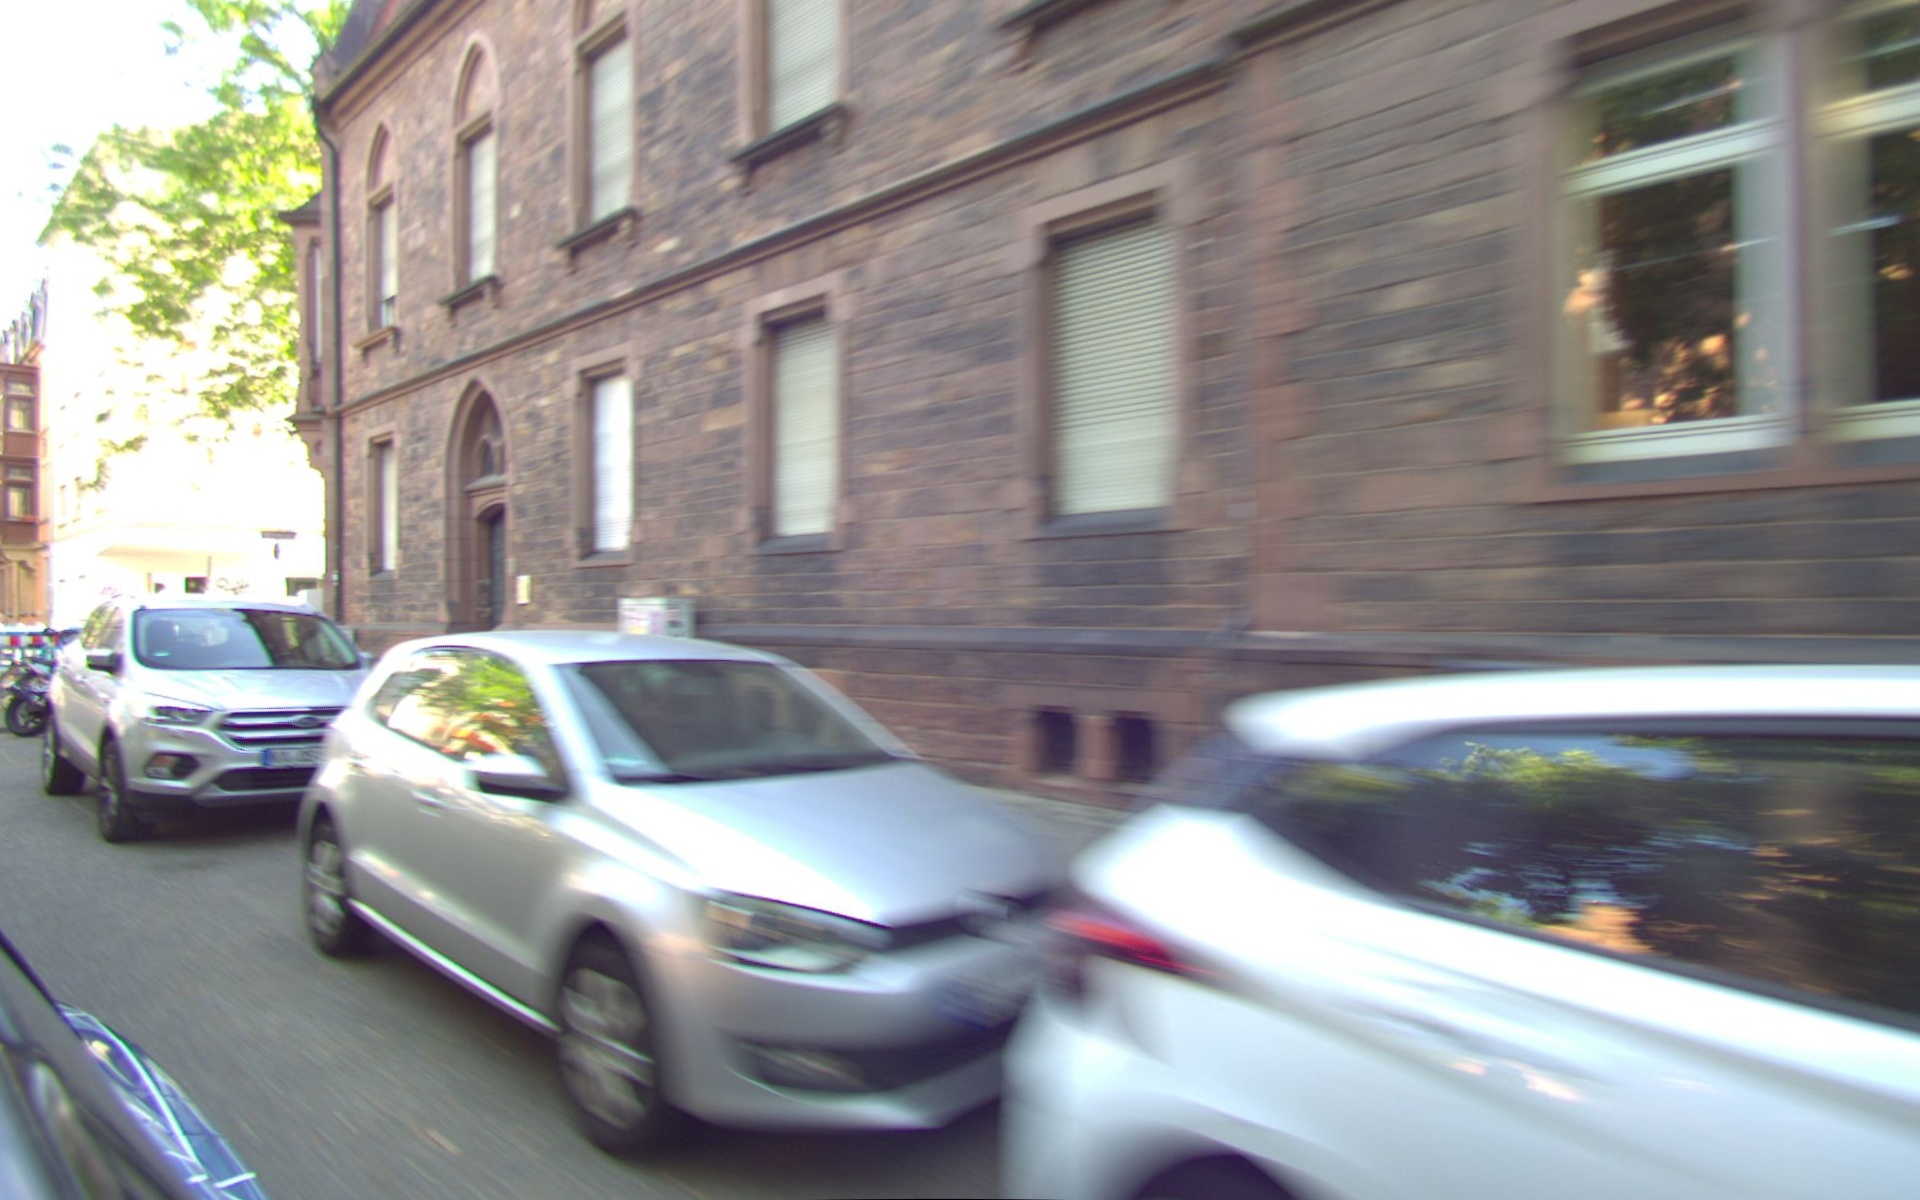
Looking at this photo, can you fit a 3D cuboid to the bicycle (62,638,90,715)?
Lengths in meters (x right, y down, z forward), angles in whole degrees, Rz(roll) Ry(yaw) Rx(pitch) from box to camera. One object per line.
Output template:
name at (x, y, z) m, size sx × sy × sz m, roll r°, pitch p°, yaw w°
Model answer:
bicycle at (-12.778, 1.091, 14.632) m, size 0.230 × 1.050 × 1.200 m, roll -1°, pitch -1°, yaw -38°

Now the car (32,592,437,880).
car at (-5.912, 0.844, 8.032) m, size 4.277 × 1.687 × 1.690 m, roll 0°, pitch -3°, yaw 42°

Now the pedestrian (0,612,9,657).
pedestrian at (-34.962, 1.256, 36.662) m, size 0.597 × 1.607 × 0.662 m, roll -1°, pitch -1°, yaw 37°

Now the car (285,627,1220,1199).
car at (-1.108, 0.870, 4.022) m, size 3.802 × 1.428 × 1.690 m, roll 0°, pitch -3°, yaw 42°

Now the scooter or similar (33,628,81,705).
scooter or similar at (-14.564, 1.070, 16.317) m, size 1.164 × 1.183 × 0.440 m, roll -5°, pitch -3°, yaw 41°

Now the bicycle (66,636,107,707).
bicycle at (-13.521, 1.109, 15.659) m, size 1.196 × 1.050 × 0.231 m, roll -4°, pitch -2°, yaw 38°

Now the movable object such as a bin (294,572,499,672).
movable object such as a bin at (-16.968, 0.568, 30.659) m, size 2.001 × 2.768 × 5.080 m, roll 2°, pitch 1°, yaw 45°

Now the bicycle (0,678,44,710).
bicycle at (-14.757, 1.460, 15.816) m, size 1.196 × 0.446 × 0.446 m, roll -4°, pitch -2°, yaw 38°

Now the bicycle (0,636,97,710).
bicycle at (-13.540, 1.068, 14.791) m, size 1.660 × 1.050 × 0.234 m, roll 0°, pitch 1°, yaw 1°

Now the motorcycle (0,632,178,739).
motorcycle at (-11.192, 1.047, 12.591) m, size 2.292 × 1.260 × 0.702 m, roll 1°, pitch -1°, yaw -4°

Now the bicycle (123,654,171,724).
bicycle at (-11.784, 1.268, 14.663) m, size 1.419 × 0.913 × 0.231 m, roll 0°, pitch 1°, yaw 39°

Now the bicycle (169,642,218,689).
bicycle at (-16.377, 1.401, 21.601) m, size 1.756 × 0.933 × 0.486 m, roll -4°, pitch -2°, yaw 41°

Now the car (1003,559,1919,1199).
car at (2.053, 0.704, 1.192) m, size 3.802 × 1.428 × 1.690 m, roll 0°, pitch -3°, yaw 42°
